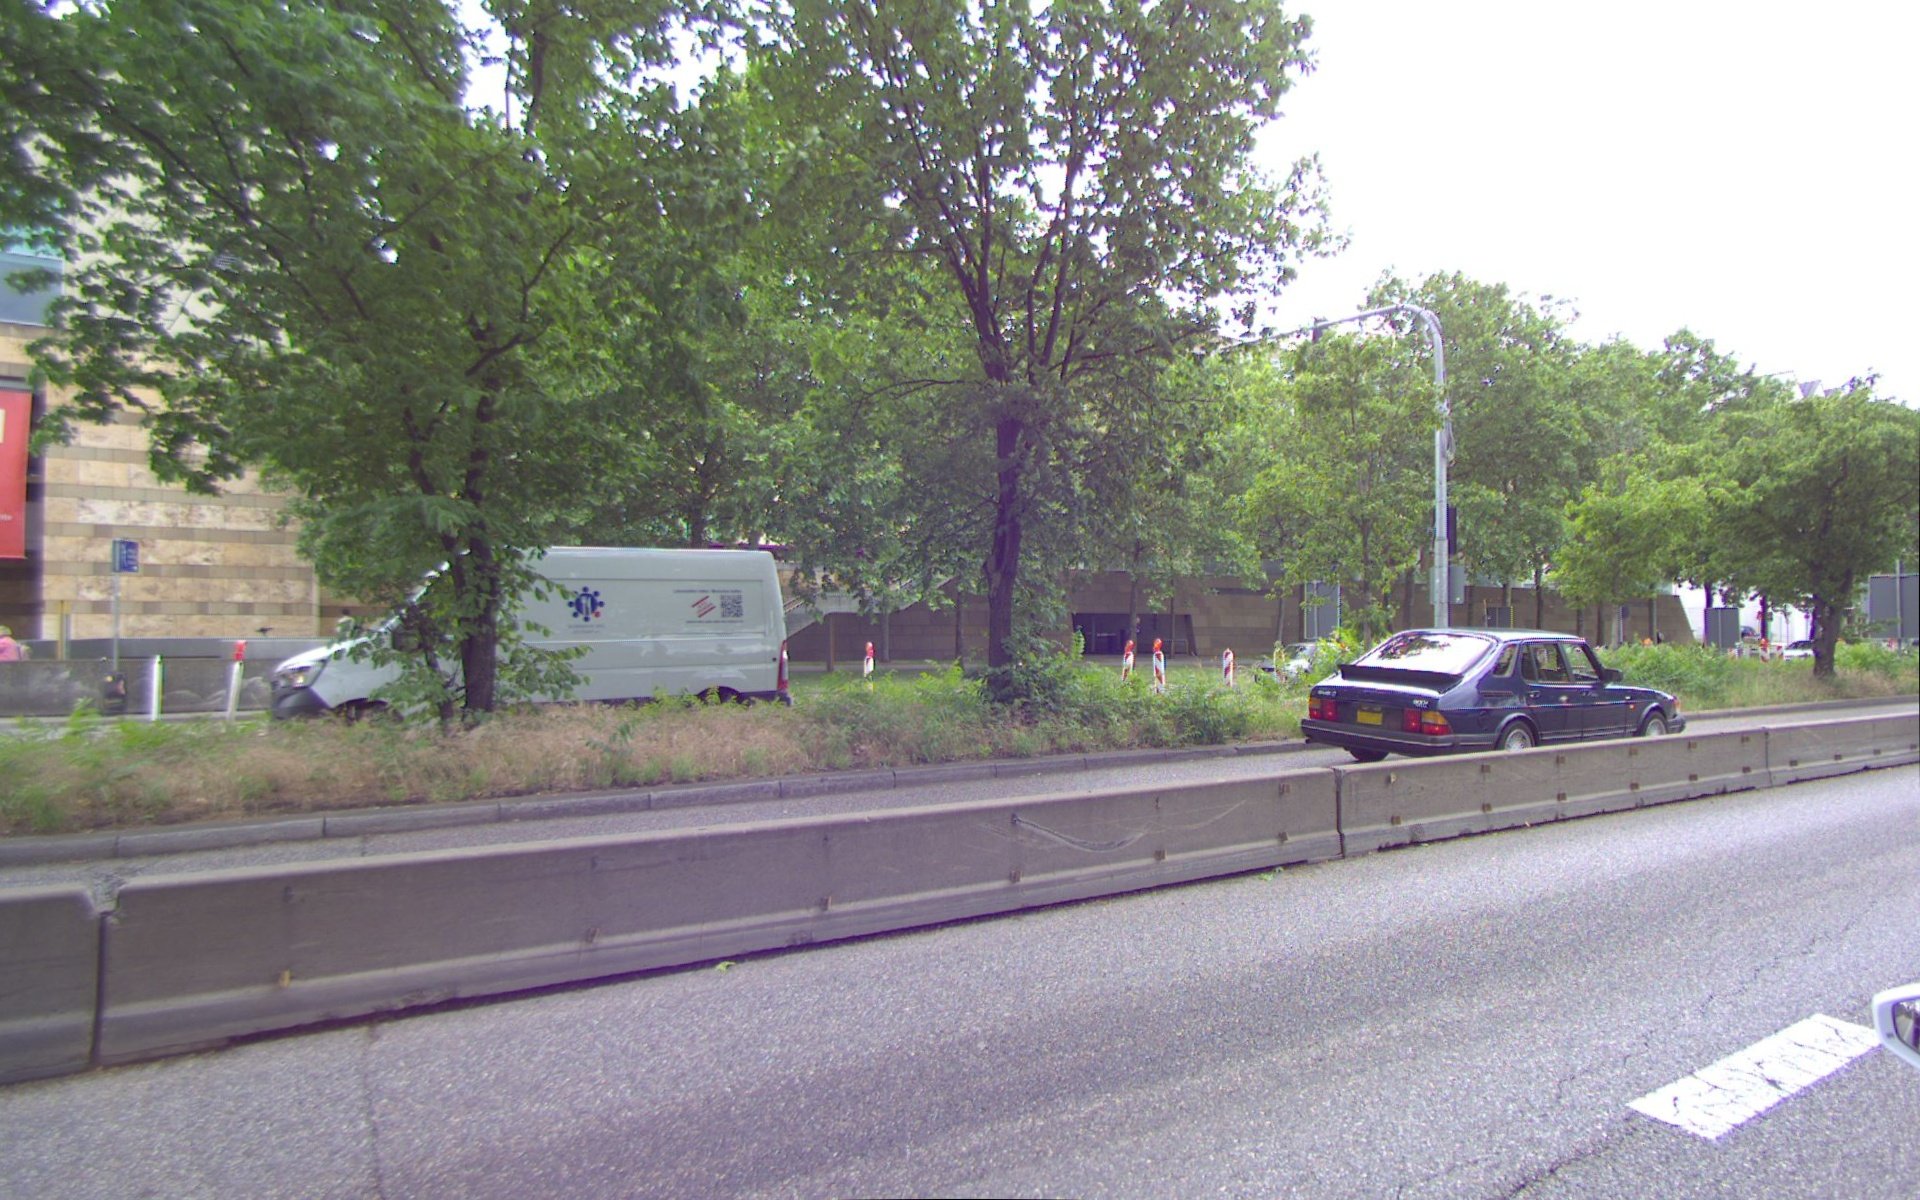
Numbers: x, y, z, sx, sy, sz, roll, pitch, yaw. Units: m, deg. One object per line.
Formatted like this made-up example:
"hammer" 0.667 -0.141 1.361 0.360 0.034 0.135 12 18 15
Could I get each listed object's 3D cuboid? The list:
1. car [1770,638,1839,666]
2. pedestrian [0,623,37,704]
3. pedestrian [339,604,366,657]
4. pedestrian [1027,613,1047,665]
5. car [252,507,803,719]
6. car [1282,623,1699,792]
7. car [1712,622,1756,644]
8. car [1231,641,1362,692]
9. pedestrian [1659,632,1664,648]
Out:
"car" 43.776 2.662 52.050 3.760 1.401 1.652 1 -1 -31
"pedestrian" -18.295 1.218 19.461 0.522 1.552 0.557 1 -1 -35
"pedestrian" -18.292 0.911 30.245 0.616 1.590 0.434 1 -1 -38
"pedestrian" 3.065 1.553 40.138 0.657 2.040 0.449 1 -1 -31
"car" -4.816 0.189 11.801 5.513 1.995 2.105 1 -1 -31
"car" 5.451 0.940 10.150 4.491 1.385 1.670 1 -1 -31
"car" 71.757 3.047 93.136 3.954 1.940 1.984 1 -1 -31
"car" 10.664 2.046 31.767 3.954 1.477 1.839 1 -1 -31
"pedestrian" 47.334 2.695 67.804 0.212 1.093 0.258 2 1 42
